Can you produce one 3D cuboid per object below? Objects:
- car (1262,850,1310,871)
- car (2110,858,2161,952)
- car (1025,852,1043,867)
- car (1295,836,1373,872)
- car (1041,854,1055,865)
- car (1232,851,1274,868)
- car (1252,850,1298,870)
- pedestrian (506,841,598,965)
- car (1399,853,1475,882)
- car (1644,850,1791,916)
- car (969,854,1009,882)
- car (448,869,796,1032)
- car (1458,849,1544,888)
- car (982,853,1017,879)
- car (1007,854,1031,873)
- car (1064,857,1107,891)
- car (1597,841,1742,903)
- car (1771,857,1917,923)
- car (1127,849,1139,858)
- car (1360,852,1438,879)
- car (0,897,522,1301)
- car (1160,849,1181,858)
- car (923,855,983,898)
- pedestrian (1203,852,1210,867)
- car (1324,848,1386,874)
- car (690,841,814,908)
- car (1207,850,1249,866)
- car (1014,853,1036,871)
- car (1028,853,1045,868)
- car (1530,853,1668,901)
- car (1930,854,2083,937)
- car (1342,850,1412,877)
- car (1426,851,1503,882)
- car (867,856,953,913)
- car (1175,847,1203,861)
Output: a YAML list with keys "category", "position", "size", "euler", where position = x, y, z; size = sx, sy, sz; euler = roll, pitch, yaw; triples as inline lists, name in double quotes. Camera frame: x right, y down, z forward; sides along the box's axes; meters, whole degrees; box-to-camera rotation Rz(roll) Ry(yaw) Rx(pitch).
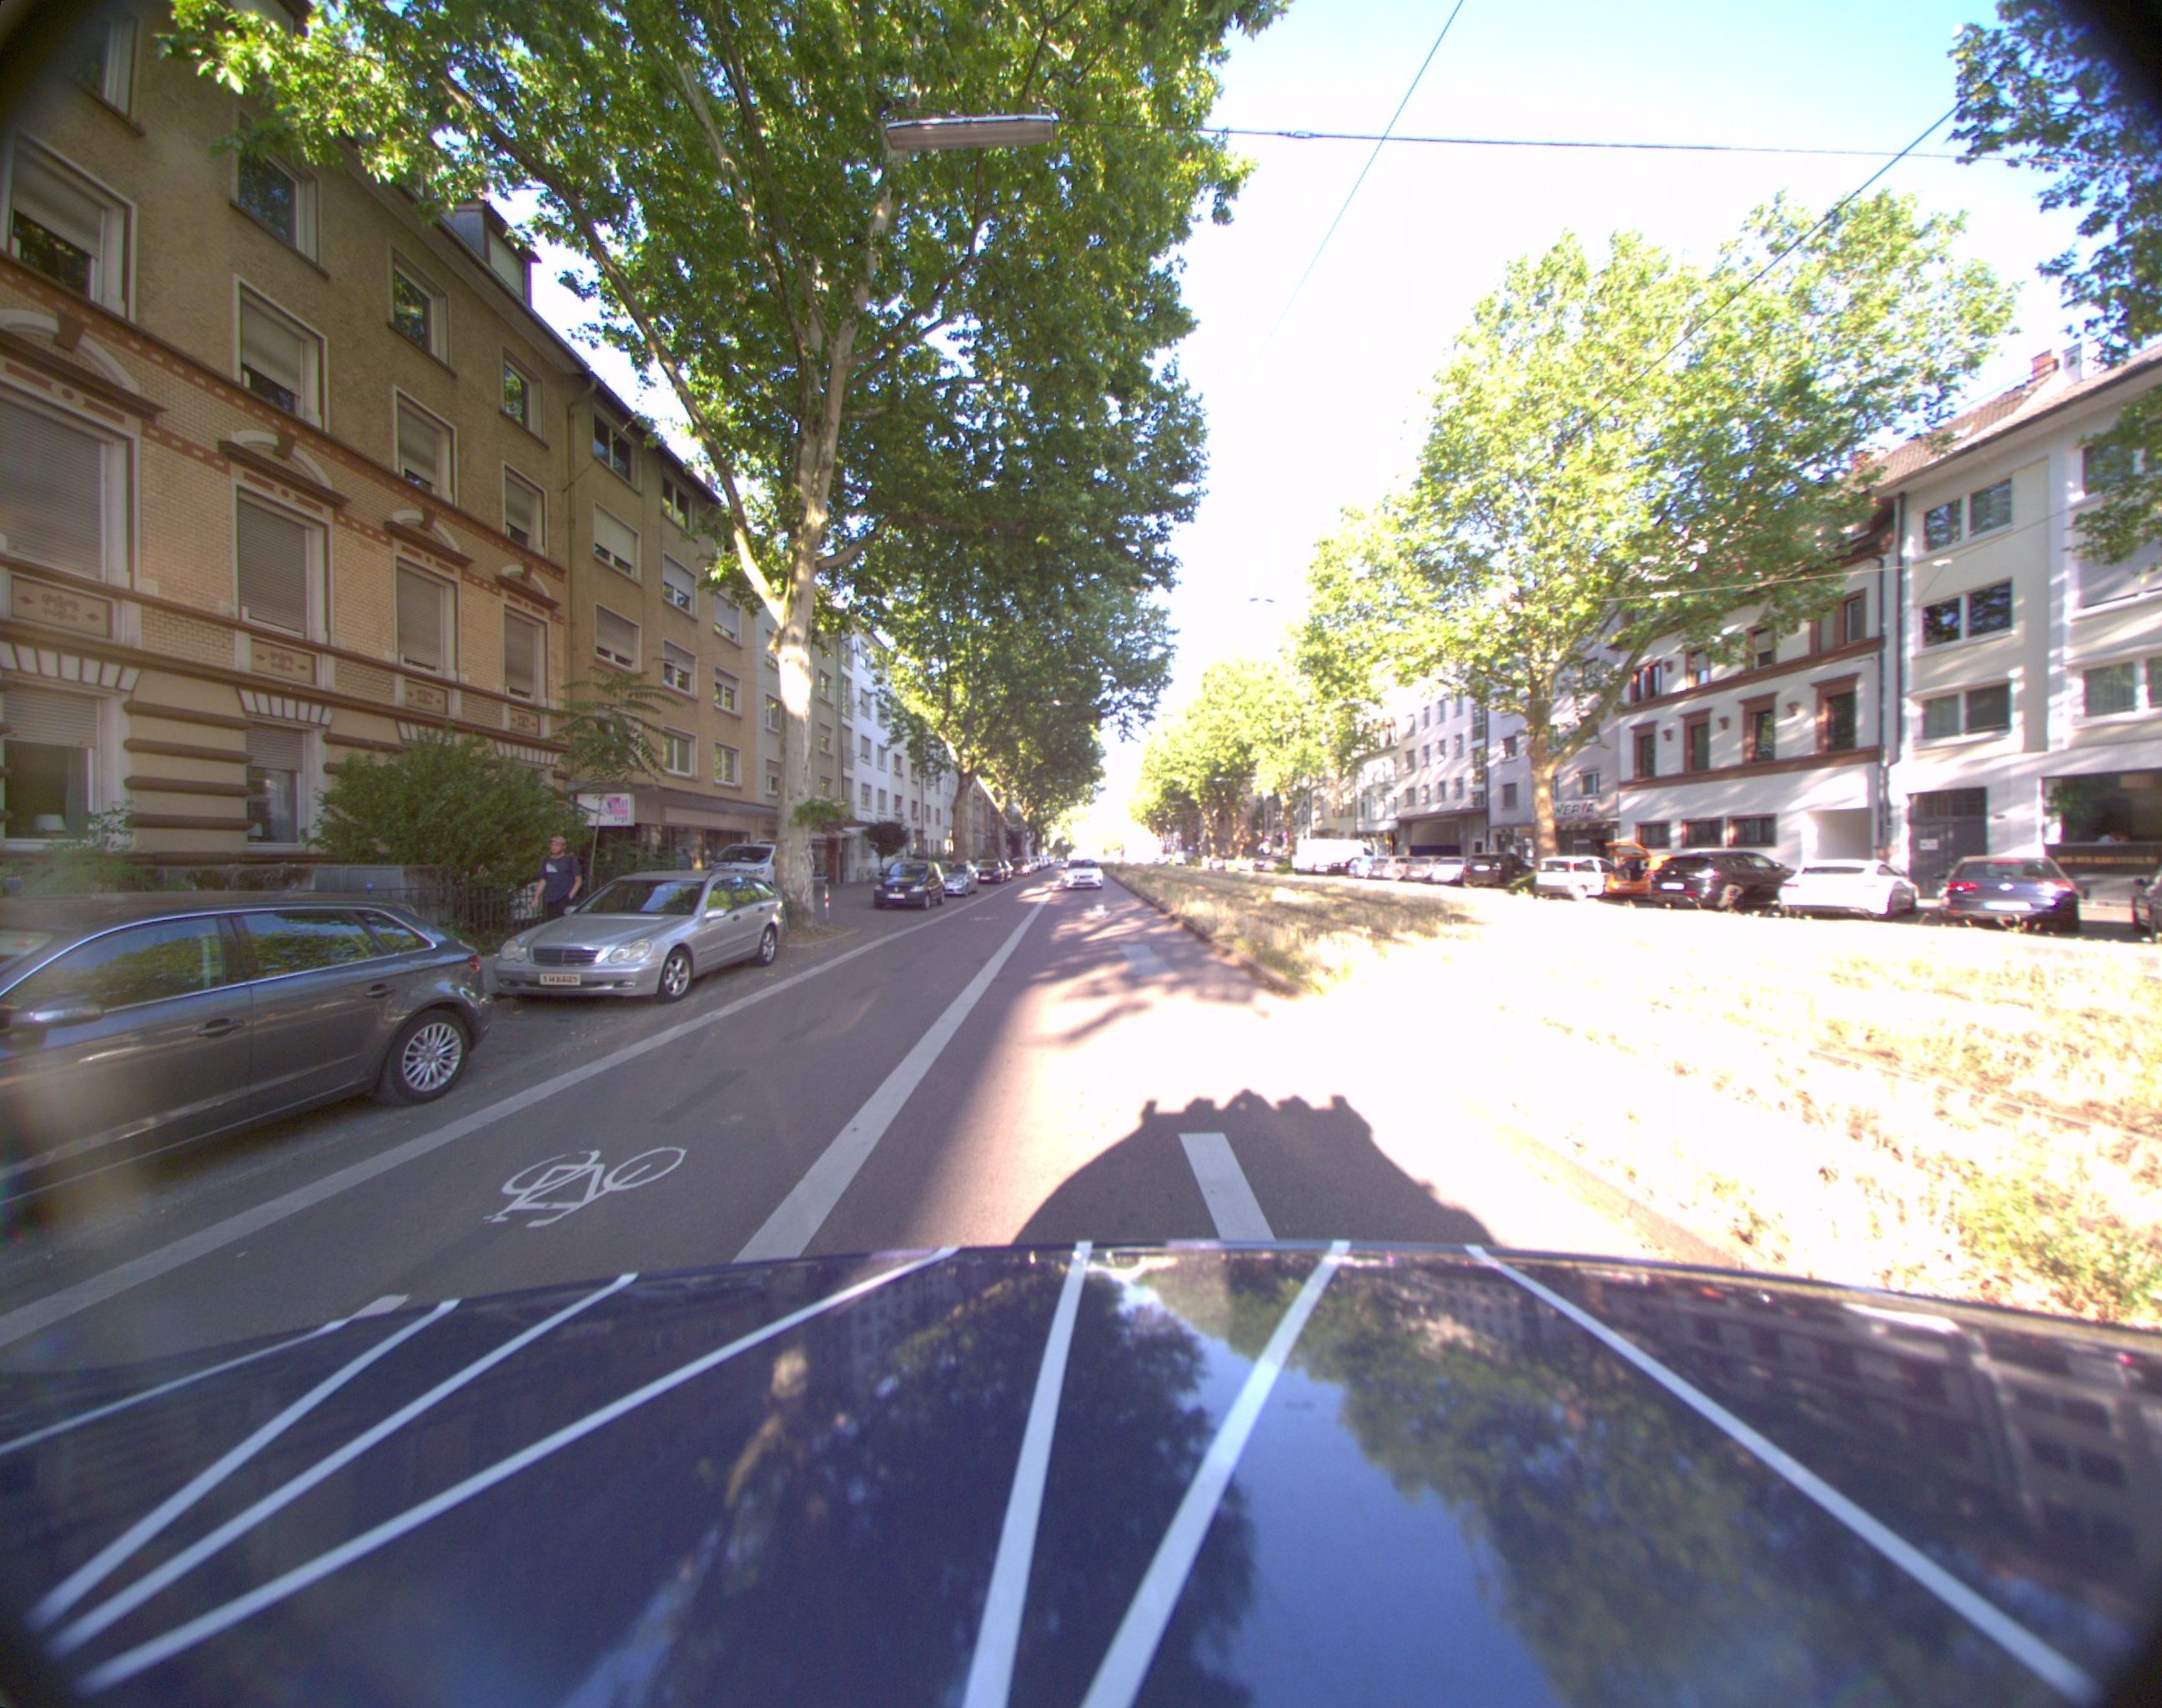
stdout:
- category: "car"
  position: [18.826, 0.587, 69.752]
  size: [4.006, 1.805, 1.995]
  euler: [-1, 1, -27]
- category: "car"
  position: [19.038, 0.801, 12.708]
  size: [3.979, 1.424, 1.738]
  euler: [-1, -1, -42]
- category: "car"
  position: [-5.383, 0.655, 86.710]
  size: [1.803, 1.599, 4.104]
  euler: [2, 0, -1]
- category: "car"
  position: [19.188, -0.021, 57.580]
  size: [5.619, 2.684, 2.176]
  euler: [-1, 1, -24]
- category: "car"
  position: [-4.760, 0.783, 110.177]
  size: [1.803, 1.598, 3.702]
  euler: [2, 0, -1]
- category: "car"
  position: [18.426, 0.579, 81.506]
  size: [4.006, 1.696, 1.995]
  euler: [-1, 1, -27]
- category: "car"
  position: [18.649, 0.578, 73.024]
  size: [4.006, 1.805, 1.995]
  euler: [-1, 1, -27]
- category: "pedestrian"
  position: [-7.604, 0.676, 10.952]
  size: [0.728, 1.701, 0.816]
  euler: [2, 1, 0]
- category: "car"
  position: [19.206, 0.696, 40.954]
  size: [4.265, 1.449, 1.902]
  euler: [-1, 0, -36]
- category: "car"
  position: [18.221, 0.744, 21.722]
  size: [4.265, 1.674, 2.147]
  euler: [-1, 1, -34]
- category: "car"
  position: [-5.463, 0.797, 45.571]
  size: [1.803, 1.494, 4.369]
  euler: [2, 0, -1]
- category: "car"
  position: [-5.385, 1.007, 9.778]
  size: [1.803, 1.446, 4.511]
  euler: [2, 0, -1]
- category: "car"
  position: [18.834, 0.609, 34.038]
  size: [4.266, 1.605, 1.902]
  euler: [-1, 1, -39]
- category: "car"
  position: [-5.386, 0.745, 50.658]
  size: [1.803, 1.599, 4.369]
  euler: [2, 0, -1]
- category: "car"
  position: [-5.366, 0.804, 66.251]
  size: [1.803, 1.599, 4.104]
  euler: [2, 0, -1]
- category: "car"
  position: [0.168, 0.897, 35.611]
  size: [1.865, 1.394, 3.931]
  euler: [-2, 0, 0]
- category: "car"
  position: [19.453, 0.568, 25.129]
  size: [4.260, 1.932, 1.514]
  euler: [0, 1, -15]
- category: "car"
  position: [18.611, 0.774, 18.482]
  size: [4.266, 1.369, 2.147]
  euler: [-1, 0, -40]
- category: "car"
  position: [14.966, -0.070, 217.304]
  size: [2.963, 2.407, 6.327]
  euler: [-2, 1, 1]
- category: "car"
  position: [18.877, 0.674, 45.150]
  size: [4.004, 1.509, 1.996]
  euler: [0, 0, -20]
- category: "car"
  position: [-5.203, 1.063, 3.613]
  size: [1.802, 1.393, 4.370]
  euler: [2, 0, 1]
- category: "car"
  position: [18.107, -0.024, 153.760]
  size: [3.994, 1.802, 1.874]
  euler: [0, 1, 10]
- category: "car"
  position: [-5.341, 0.904, 32.244]
  size: [1.803, 1.599, 4.369]
  euler: [2, 0, -1]
- category: "pedestrian"
  position: [13.855, 0.601, 83.836]
  size: [0.620, 1.588, 0.422]
  euler: [0, 1, 1]
- category: "car"
  position: [19.795, 0.456, 54.808]
  size: [4.006, 1.805, 1.995]
  euler: [-1, 1, -27]
- category: "car"
  position: [-10.375, 0.588, 24.373]
  size: [1.933, 1.864, 4.677]
  euler: [2, 0, -1]
- category: "car"
  position: [16.211, 0.438, 83.959]
  size: [4.234, 1.696, 1.999]
  euler: [0, 0, -4]
- category: "car"
  position: [-5.412, 0.746, 73.658]
  size: [1.803, 1.599, 4.104]
  euler: [2, 0, -1]
- category: "car"
  position: [-5.415, 0.735, 93.004]
  size: [1.803, 1.742, 4.104]
  euler: [2, 0, -1]
- category: "car"
  position: [18.138, 0.760, 26.638]
  size: [4.260, 1.548, 1.641]
  euler: [0, 1, -15]
- category: "car"
  position: [19.332, 0.773, 16.037]
  size: [3.979, 1.495, 1.827]
  euler: [-1, 1, -42]
- category: "car"
  position: [18.789, 0.560, 48.277]
  size: [4.006, 1.608, 1.995]
  euler: [-1, 0, -27]
- category: "car"
  position: [19.013, 0.585, 37.614]
  size: [4.265, 1.451, 1.598]
  euler: [-1, 1, -36]
- category: "car"
  position: [-5.409, 0.896, 24.575]
  size: [1.803, 1.599, 4.369]
  euler: [2, 0, -1]
- category: "car"
  position: [18.496, -0.019, 129.808]
  size: [4.952, 2.200, 2.096]
  euler: [-1, 1, -42]
